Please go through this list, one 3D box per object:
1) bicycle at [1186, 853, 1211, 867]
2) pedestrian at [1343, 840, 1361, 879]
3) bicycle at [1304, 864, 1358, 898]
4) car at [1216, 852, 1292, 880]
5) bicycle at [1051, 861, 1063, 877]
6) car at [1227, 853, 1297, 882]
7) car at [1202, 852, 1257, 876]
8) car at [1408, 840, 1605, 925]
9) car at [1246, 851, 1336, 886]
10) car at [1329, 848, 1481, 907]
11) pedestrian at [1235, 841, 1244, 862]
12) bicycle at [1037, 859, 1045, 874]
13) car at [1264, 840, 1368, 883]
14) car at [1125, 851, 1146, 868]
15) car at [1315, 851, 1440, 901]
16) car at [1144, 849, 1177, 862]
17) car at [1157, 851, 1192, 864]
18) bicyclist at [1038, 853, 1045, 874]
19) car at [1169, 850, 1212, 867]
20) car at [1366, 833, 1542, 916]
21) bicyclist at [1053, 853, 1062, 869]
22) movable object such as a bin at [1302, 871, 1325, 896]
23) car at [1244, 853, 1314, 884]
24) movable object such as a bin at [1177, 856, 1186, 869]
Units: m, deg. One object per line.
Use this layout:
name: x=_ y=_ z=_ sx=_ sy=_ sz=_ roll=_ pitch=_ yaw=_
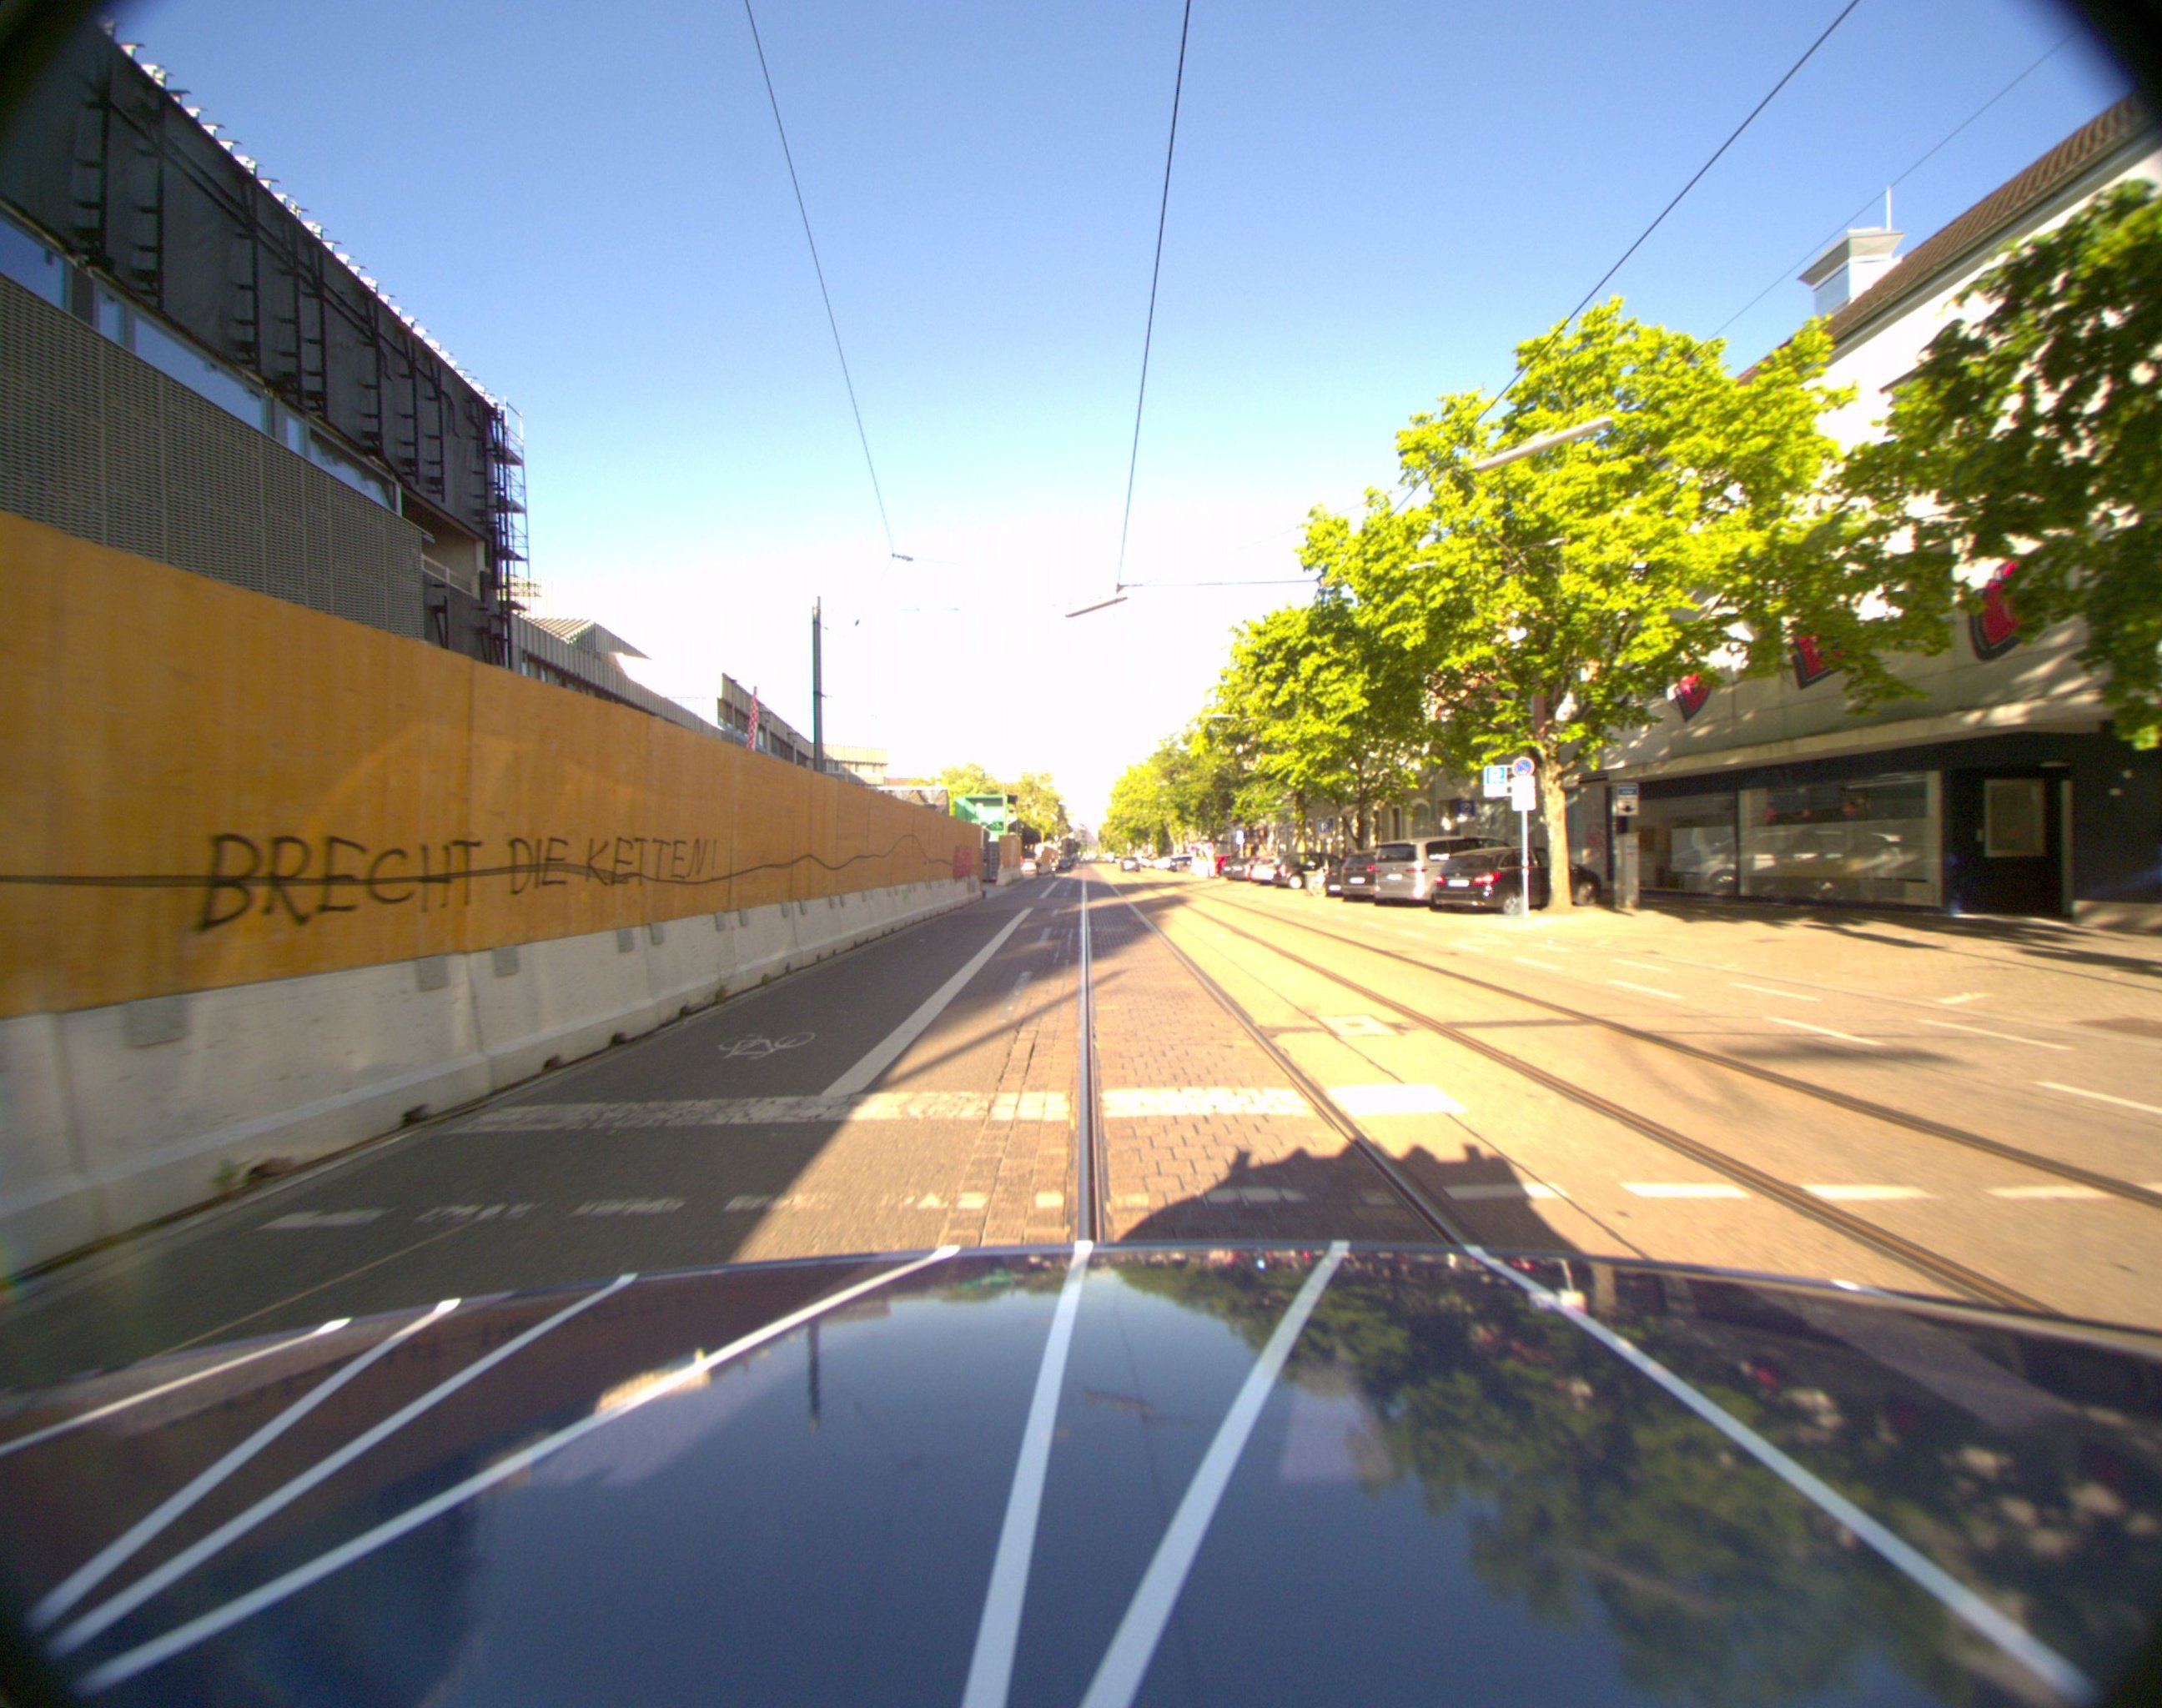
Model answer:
bicycle: x=10.092 y=0.510 z=65.486 sx=2.007 sy=1.081 sz=0.567 roll=-5 pitch=0 yaw=3
pedestrian: x=14.197 y=0.270 z=39.861 sx=0.733 sy=2.002 sz=0.556 roll=-1 pitch=1 yaw=2
bicycle: x=9.347 y=0.993 z=28.431 sx=1.973 sy=1.138 sz=0.492 roll=-3 pitch=1 yaw=-18
car: x=10.660 y=0.723 z=46.762 sx=4.208 sy=1.482 sz=1.939 roll=-3 pitch=0 yaw=-26
bicycle: x=-1.783 y=1.117 z=56.860 sx=0.669 sy=1.148 sz=2.276 roll=-2 pitch=0 yaw=4
car: x=10.548 y=0.777 z=44.181 sx=3.689 sy=1.462 sz=1.749 roll=-3 pitch=1 yaw=-28
car: x=10.999 y=0.730 z=56.332 sx=3.629 sy=1.544 sz=1.665 roll=-3 pitch=-1 yaw=-25
car: x=10.392 y=0.631 z=18.557 sx=4.300 sy=1.657 sz=1.908 roll=-4 pitch=1 yaw=-23
car: x=10.585 y=0.734 z=38.347 sx=4.122 sy=1.503 sz=1.837 roll=-3 pitch=0 yaw=-26
car: x=10.073 y=0.680 z=23.656 sx=4.253 sy=1.675 sz=1.808 roll=-1 pitch=0 yaw=-20
pedestrian: x=14.246 y=-0.239 z=68.242 sx=0.645 sy=1.827 sz=0.624 roll=-1 pitch=1 yaw=2
bicycle: x=-2.987 y=0.931 z=57.131 sx=0.558 sy=1.120 sz=2.275 roll=0 pitch=0 yaw=-2
car: x=10.754 y=0.339 z=34.944 sx=4.115 sy=1.668 sz=1.840 roll=-4 pitch=1 yaw=-2
car: x=5.522 y=0.573 z=77.507 sx=1.932 sy=1.620 sz=4.249 roll=-1 pitch=0 yaw=1
car: x=10.485 y=0.748 z=26.887 sx=3.872 sy=1.468 sz=1.840 roll=-3 pitch=1 yaw=-21
car: x=10.688 y=0.207 z=101.926 sx=4.003 sy=1.667 sz=1.700 roll=-2 pitch=0 yaw=-20
car: x=11.133 y=0.396 z=90.541 sx=3.651 sy=1.520 sz=1.883 roll=-1 pitch=0 yaw=-19
bicyclist: x=-3.002 y=0.706 z=57.684 sx=0.557 sy=1.603 sz=0.576 roll=0 pitch=1 yaw=-2
car: x=10.790 y=0.461 z=74.991 sx=3.906 sy=1.599 sz=1.570 roll=-1 pitch=0 yaw=-21
car: x=10.478 y=0.517 z=21.371 sx=4.372 sy=1.975 sz=1.946 roll=-3 pitch=1 yaw=-21
bicyclist: x=-1.788 y=0.515 z=56.979 sx=0.653 sy=1.230 sz=0.353 roll=0 pitch=1 yaw=1
movable object such as a bin: x=8.779 y=1.111 z=28.736 sx=0.577 sy=0.908 sz=0.575 roll=-3 pitch=0 yaw=-15
car: x=10.747 y=0.773 z=41.224 sx=3.378 sy=1.484 sz=1.610 roll=-3 pitch=0 yaw=-27
movable object such as a bin: x=9.100 y=0.768 z=69.026 sx=0.685 sy=1.071 sz=0.710 roll=-4 pitch=0 yaw=2
